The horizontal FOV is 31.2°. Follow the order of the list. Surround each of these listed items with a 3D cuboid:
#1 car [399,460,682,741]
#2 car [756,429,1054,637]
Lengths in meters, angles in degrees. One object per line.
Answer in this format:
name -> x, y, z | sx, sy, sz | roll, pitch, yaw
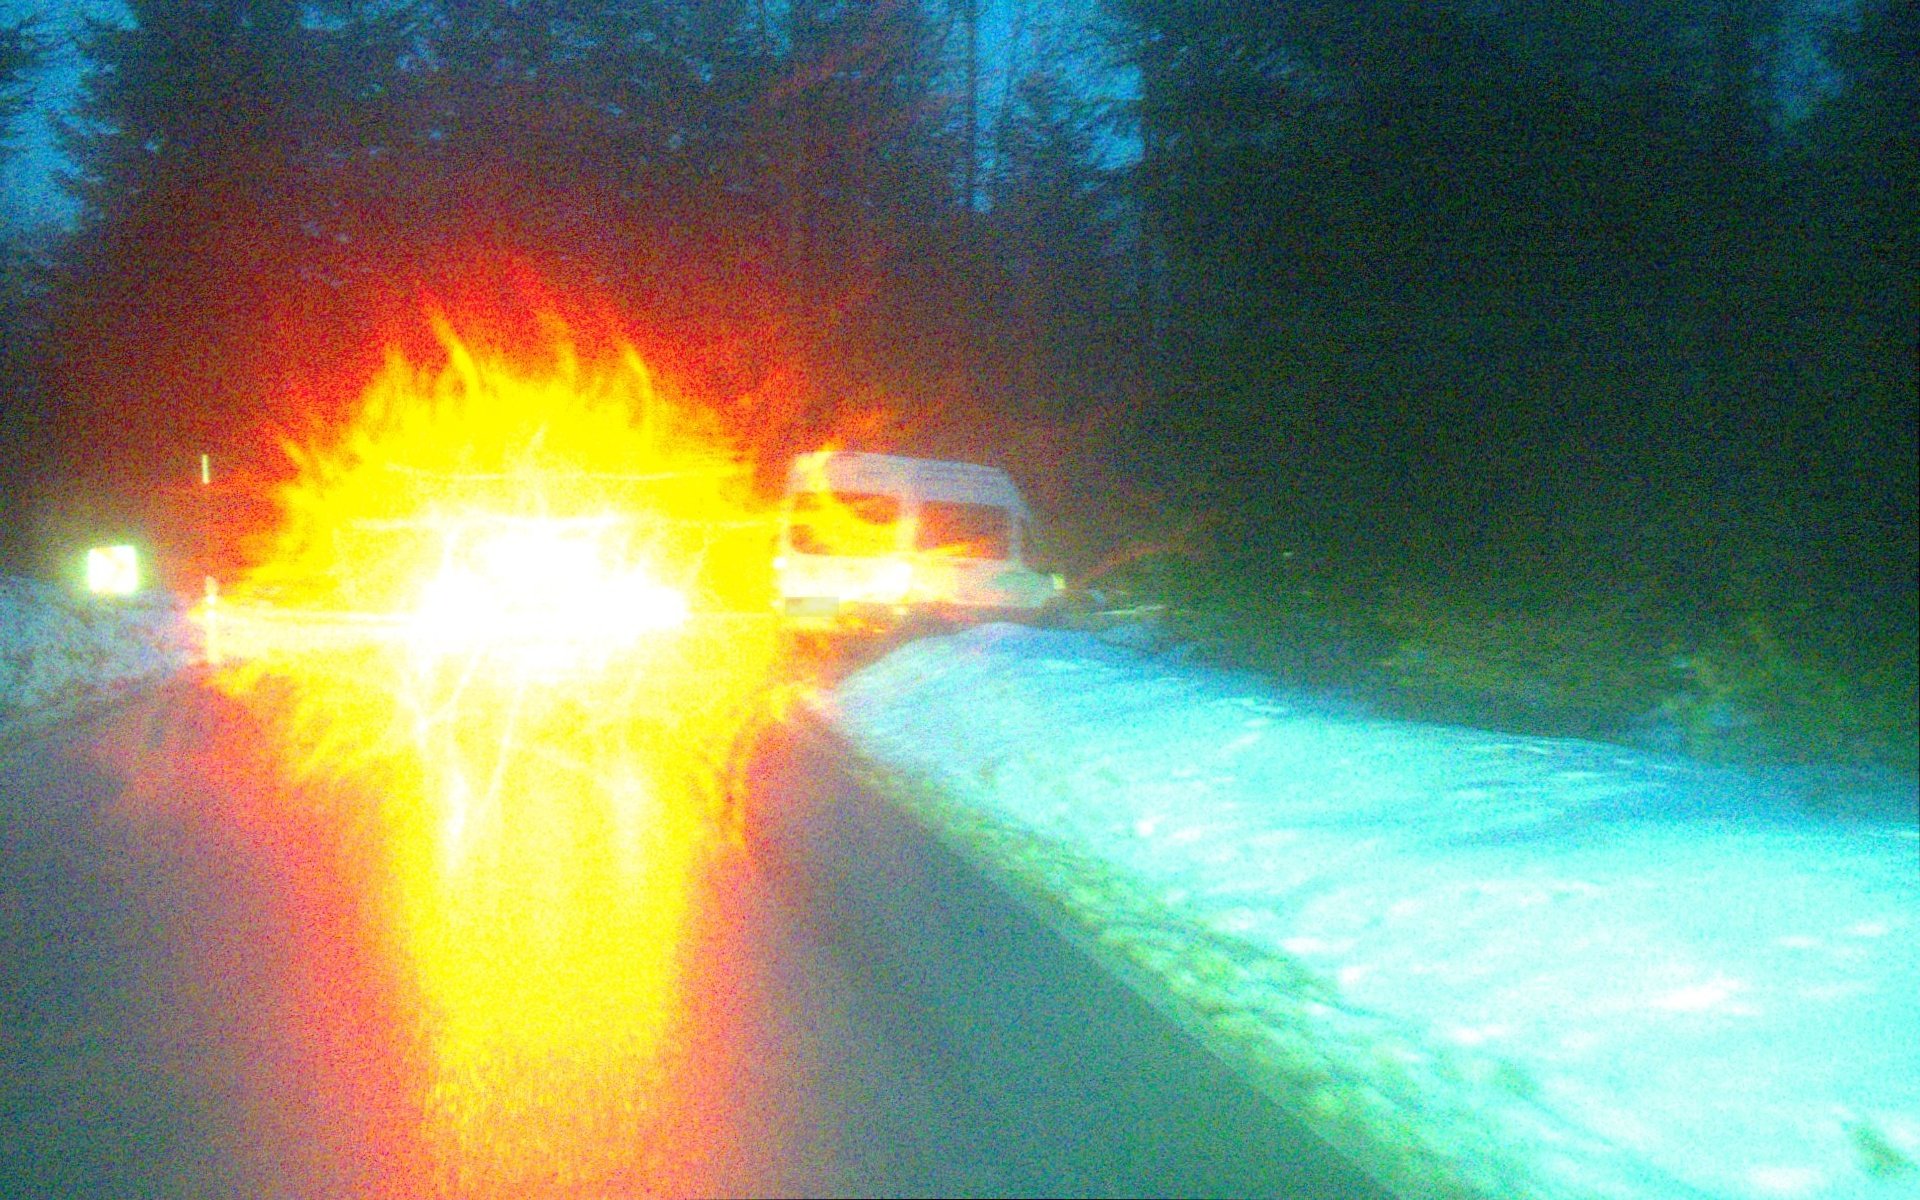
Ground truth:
car -> -3.259, -0.017, 27.433 | 1.993, 2.045, 4.001 | -1, 1, -4
car -> -0.665, -0.932, 46.775 | 2.255, 2.636, 5.001 | 2, 2, 22
